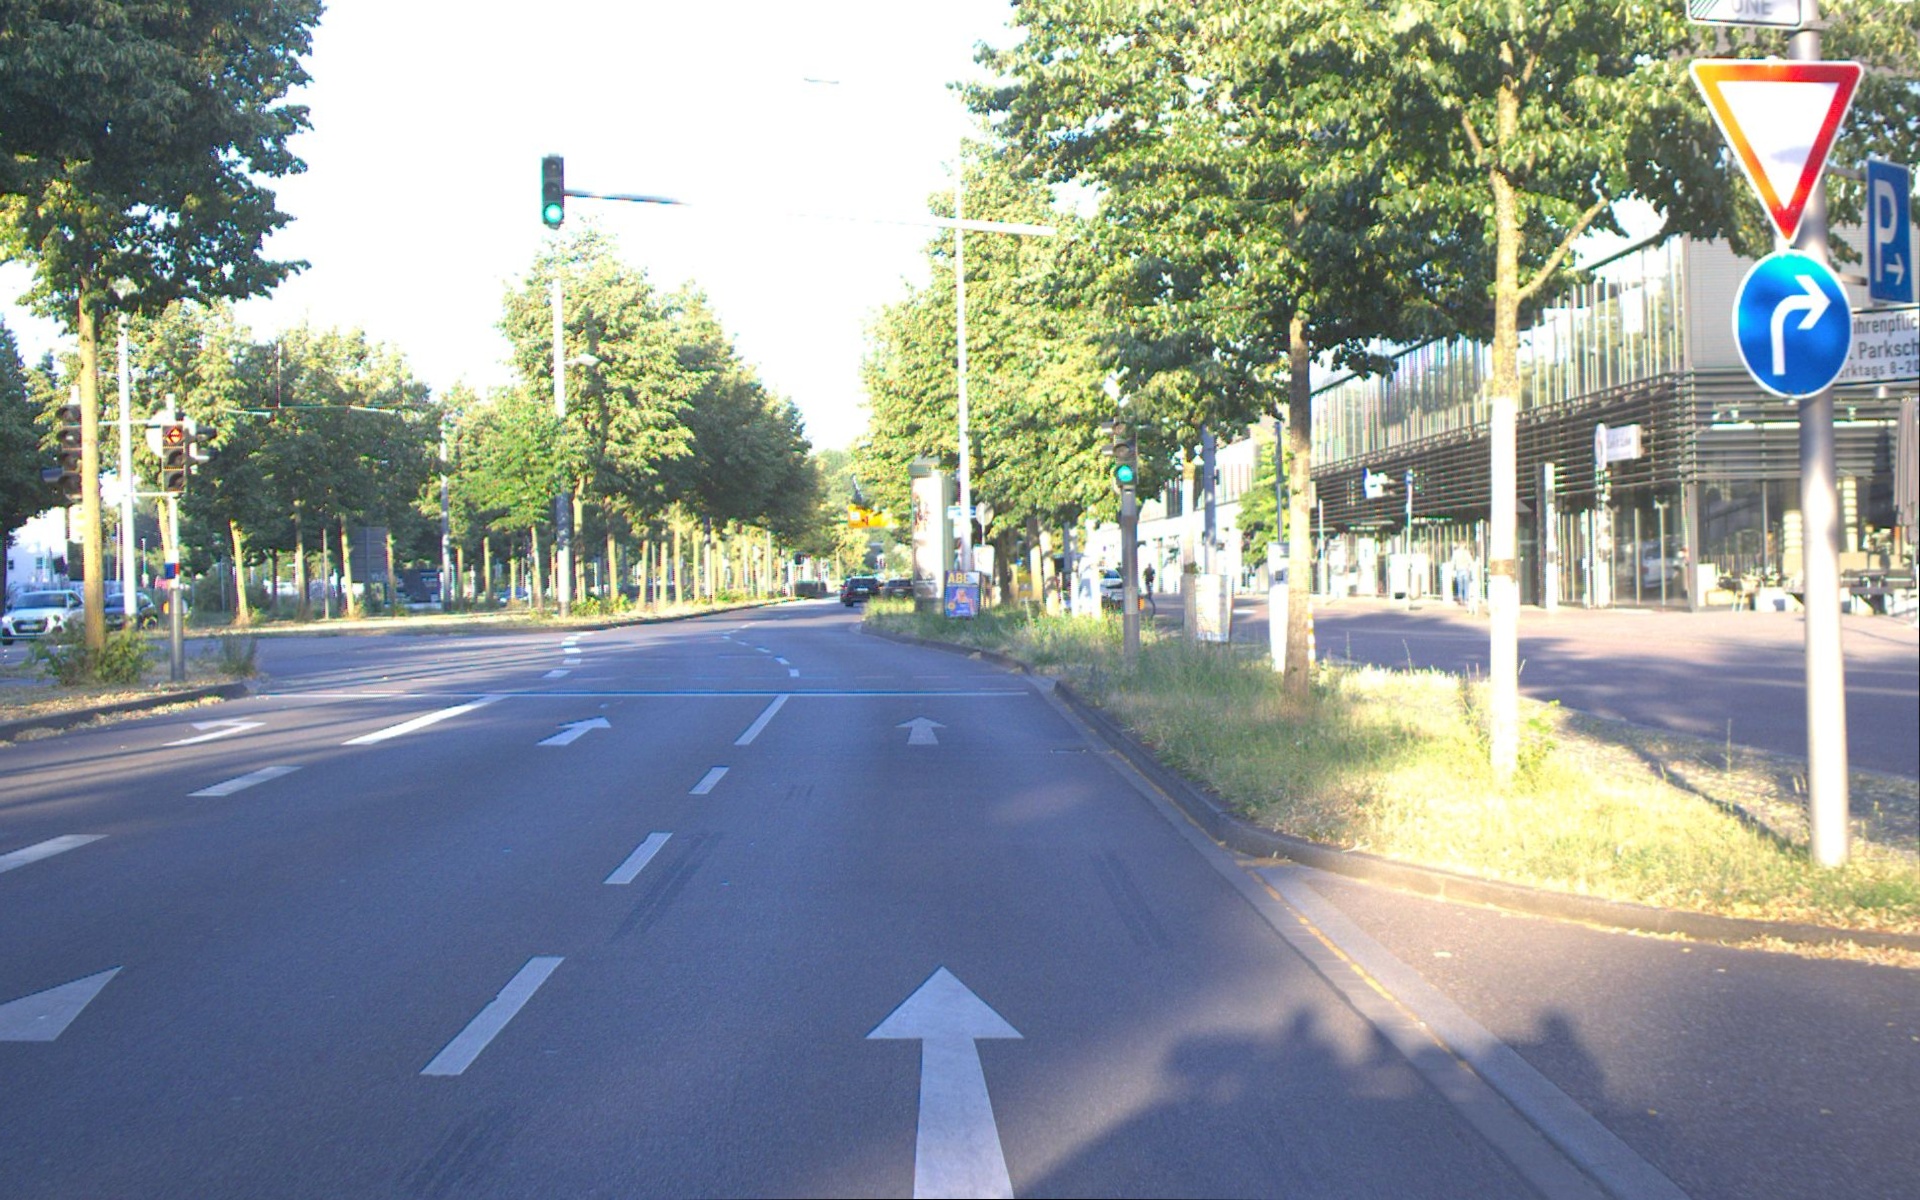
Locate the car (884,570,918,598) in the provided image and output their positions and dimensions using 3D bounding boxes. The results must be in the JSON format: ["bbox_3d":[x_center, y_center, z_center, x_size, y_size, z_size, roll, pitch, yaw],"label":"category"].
[{"bbox_3d":[-3.398,-0.929,199.365,1.872,1.568,3.677,-1,1,1],"label":"car"}]

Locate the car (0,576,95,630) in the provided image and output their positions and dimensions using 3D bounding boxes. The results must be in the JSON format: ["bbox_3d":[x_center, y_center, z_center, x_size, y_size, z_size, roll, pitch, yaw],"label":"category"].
[{"bbox_3d":[-23.949,0.074,89.973,1.786,1.327,3.672,-1,1,-2],"label":"car"}]

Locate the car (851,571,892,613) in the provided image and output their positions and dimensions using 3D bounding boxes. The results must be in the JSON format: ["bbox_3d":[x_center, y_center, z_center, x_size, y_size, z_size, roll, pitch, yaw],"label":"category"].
[{"bbox_3d":[-4.503,-0.418,174.508,1.993,2.007,4.000,-1,1,-2],"label":"car"}]
